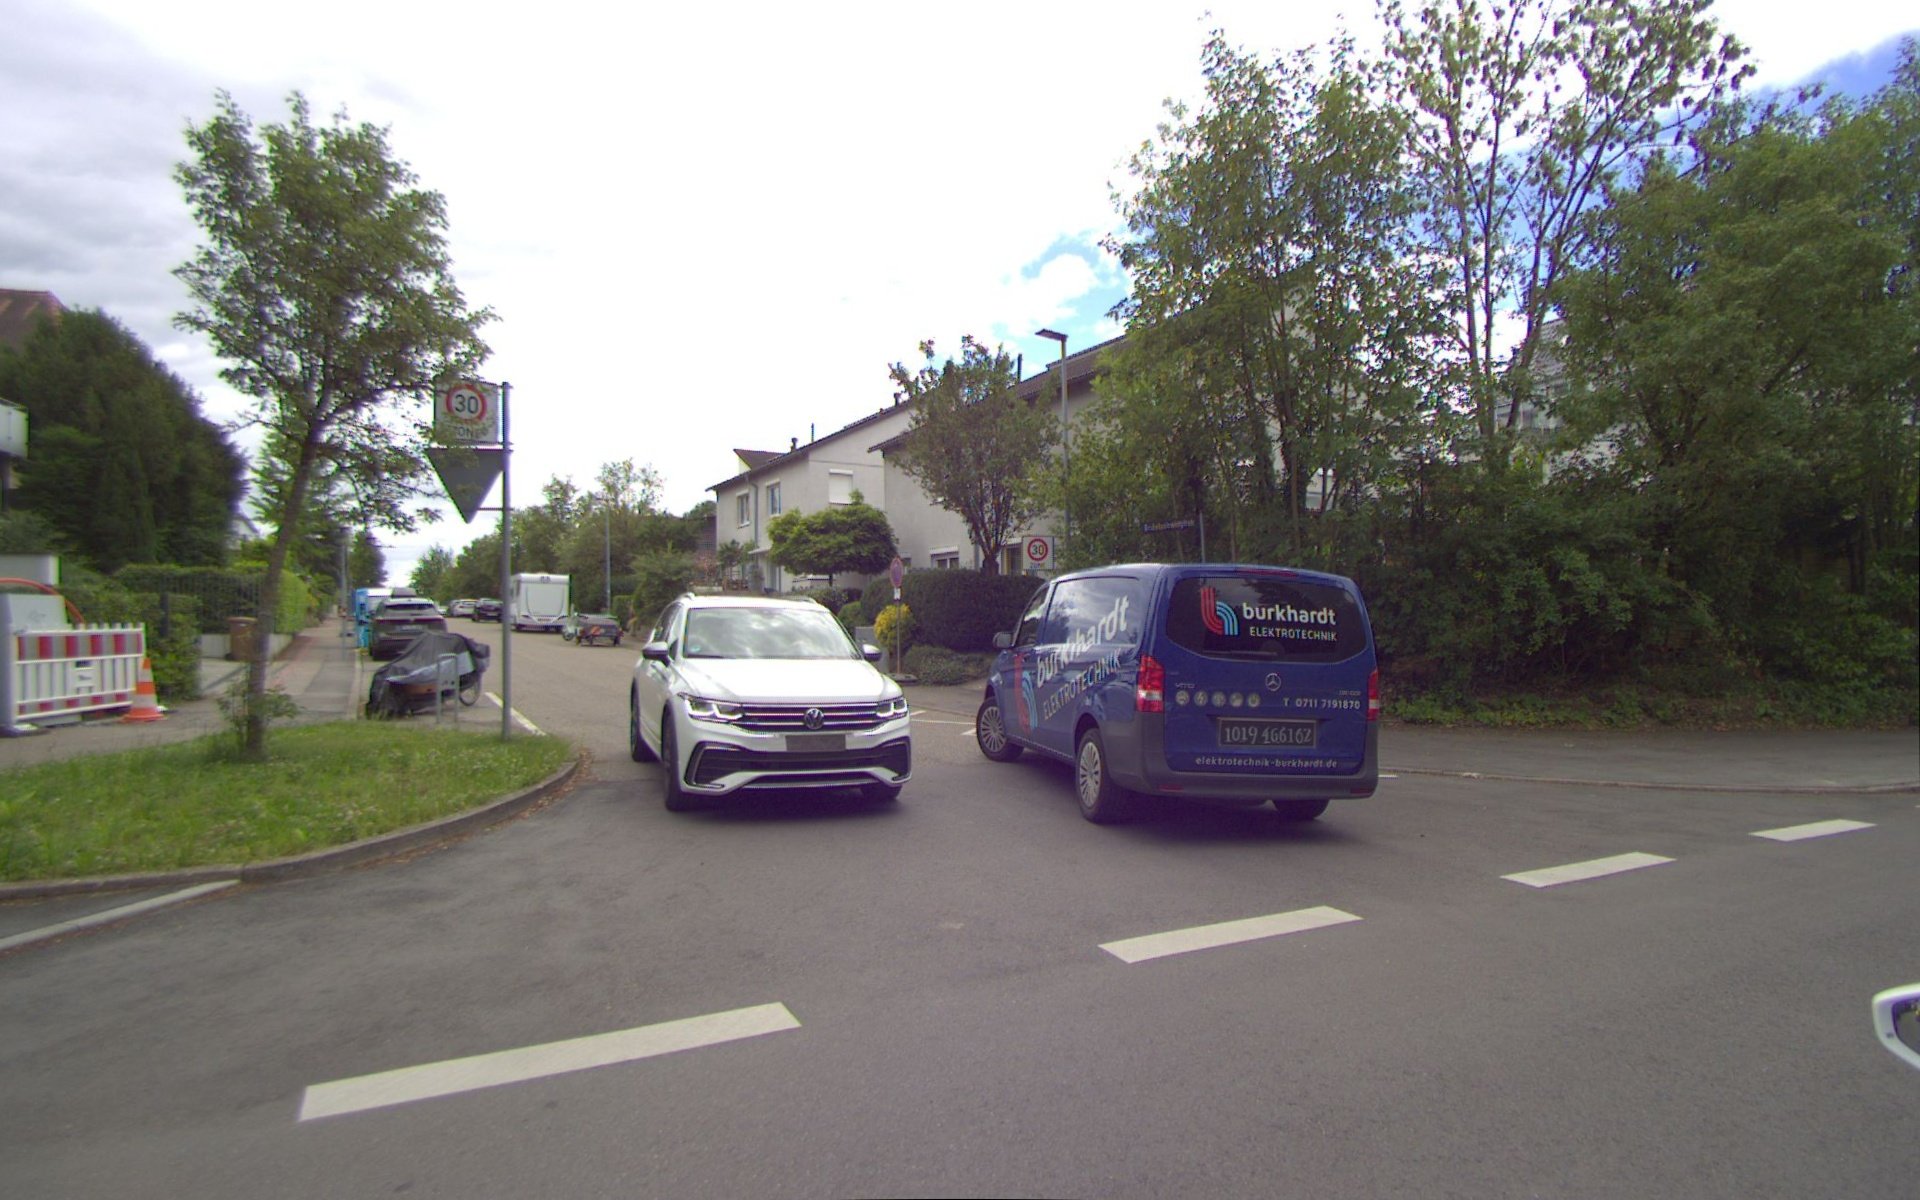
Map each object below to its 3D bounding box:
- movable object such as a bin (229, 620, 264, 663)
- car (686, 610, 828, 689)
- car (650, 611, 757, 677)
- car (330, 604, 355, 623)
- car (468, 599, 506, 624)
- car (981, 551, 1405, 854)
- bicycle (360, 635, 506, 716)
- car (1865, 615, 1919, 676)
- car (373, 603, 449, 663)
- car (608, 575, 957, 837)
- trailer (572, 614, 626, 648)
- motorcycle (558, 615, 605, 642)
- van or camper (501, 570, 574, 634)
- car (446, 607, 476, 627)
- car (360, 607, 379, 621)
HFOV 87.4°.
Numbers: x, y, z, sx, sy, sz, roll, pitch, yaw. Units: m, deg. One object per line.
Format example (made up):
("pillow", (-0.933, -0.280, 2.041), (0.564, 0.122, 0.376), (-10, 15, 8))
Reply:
("movable object such as a bin", (-17.308, 0.996, 24.377), (0.569, 1.015, 0.581), (1, -1, -24))
("car", (-4.275, 0.964, 20.768), (1.654, 1.431, 3.518), (1, 0, -34))
("car", (-6.303, 1.009, 24.392), (1.513, 1.431, 3.765), (1, 0, -31))
("car", (-49.238, 1.037, 80.061), (1.515, 1.431, 3.516), (1, 0, -35))
("car", (-29.173, 0.687, 61.923), (1.515, 1.431, 3.516), (1, 0, -35))
("car", (1.597, 0.673, 8.727), (1.908, 1.905, 4.521), (1, 0, -11))
("bicycle", (-7.589, 1.050, 14.654), (0.639, 1.015, 2.586), (1, -1, 3))
("car", (24.476, 1.150, 23.551), (1.852, 1.460, 4.470), (2, -1, -23))
("car", (-15.502, 0.891, 28.459), (1.742, 1.549, 3.939), (1, 0, -28))
("car", (-1.937, 0.720, 9.155), (2.009, 1.692, 4.923), (2, -1, -24))
("trailer", (-13.121, 1.101, 36.385), (1.461, 1.111, 3.361), (2, -1, -26))
("motorcycle", (-14.617, 1.109, 38.783), (2.008, 0.977, 0.717), (1, -1, 36))
("van or camper", (-20.579, 0.097, 48.640), (2.280, 2.883, 7.558), (1, 0, -30))
("car", (-37.799, 1.251, 76.037), (1.515, 1.431, 3.516), (1, 0, -35))
("car", (-62.925, 1.523, 107.016), (1.515, 1.431, 3.516), (1, 0, -35))
